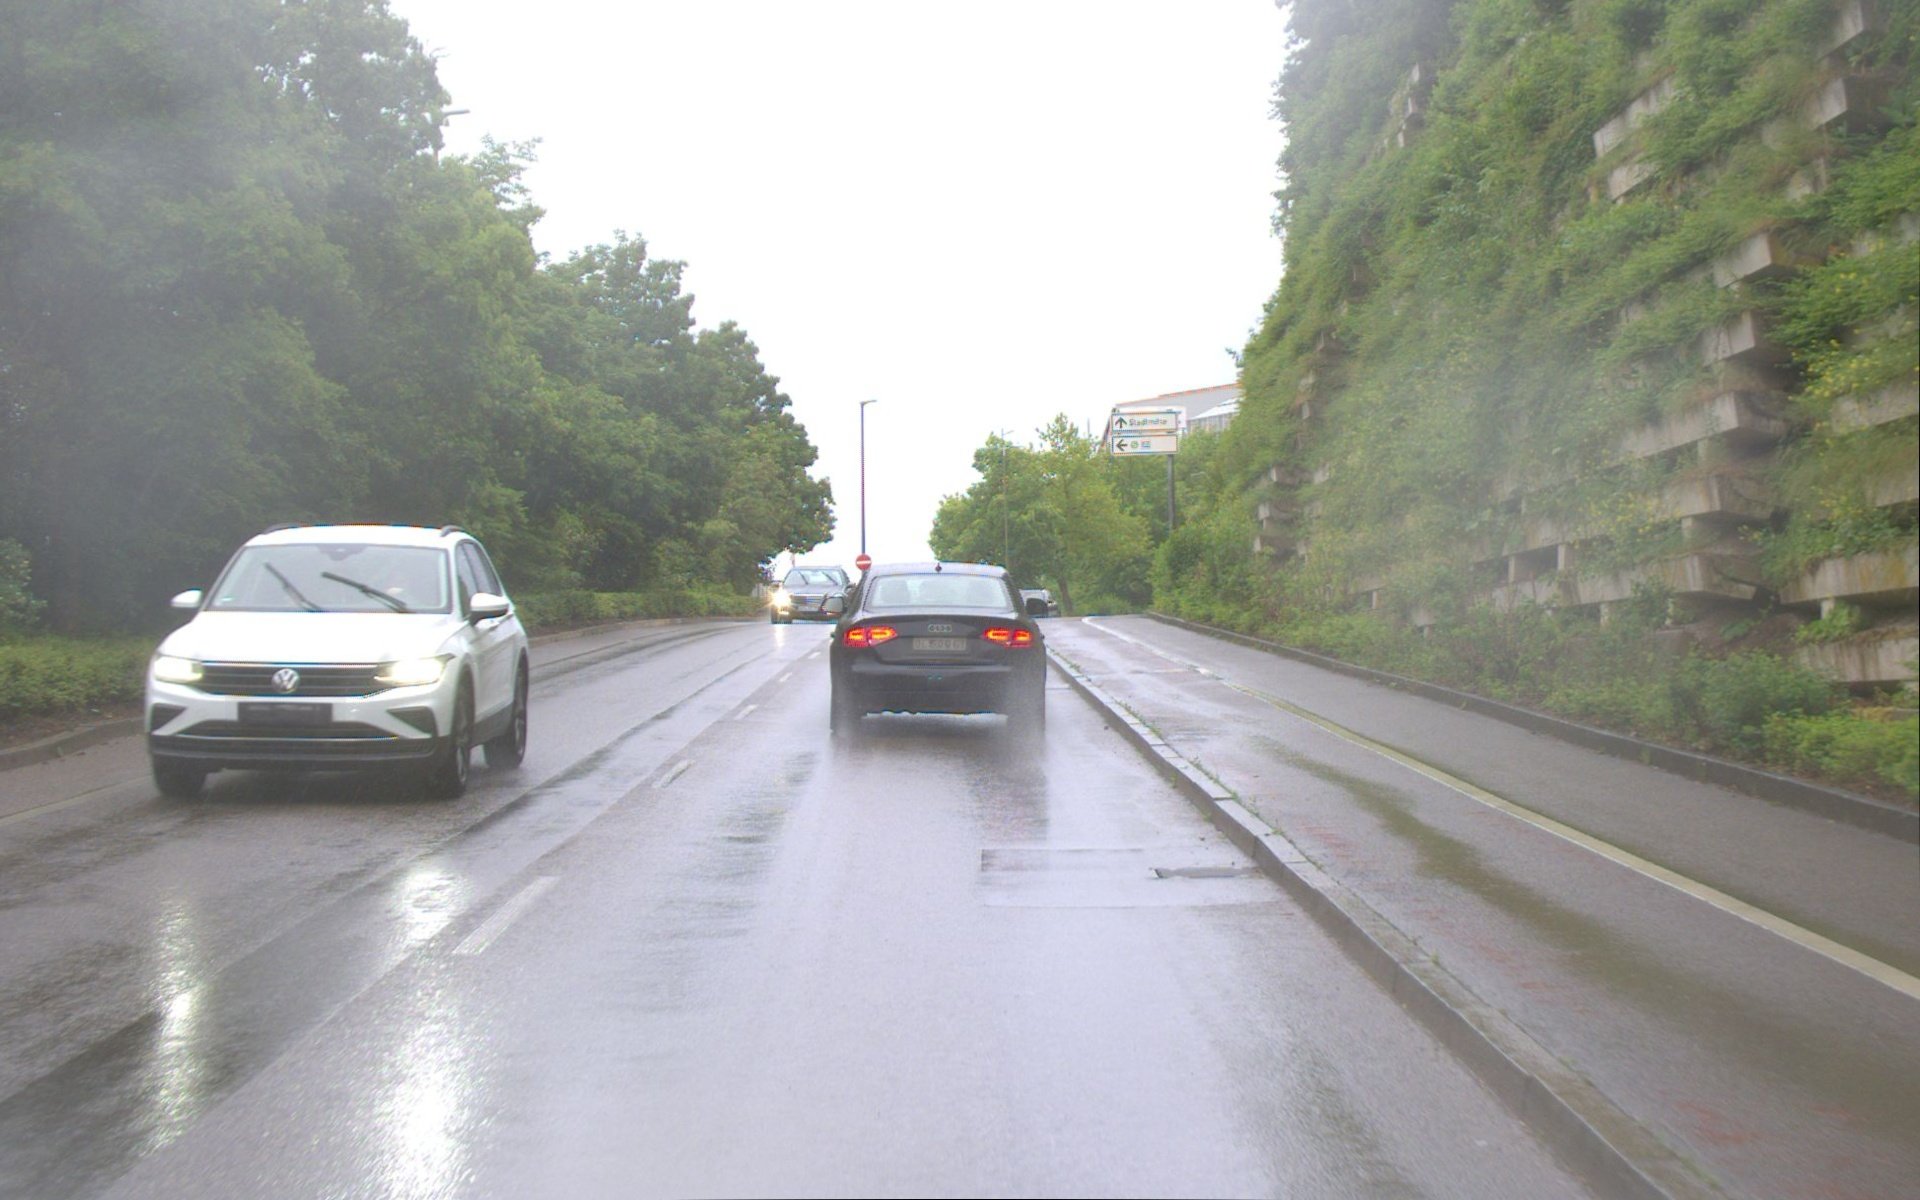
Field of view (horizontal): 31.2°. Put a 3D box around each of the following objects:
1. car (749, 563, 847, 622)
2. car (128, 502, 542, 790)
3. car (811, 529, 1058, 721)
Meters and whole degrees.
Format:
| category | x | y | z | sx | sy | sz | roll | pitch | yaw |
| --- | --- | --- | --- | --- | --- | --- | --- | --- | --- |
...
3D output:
| category | x | y | z | sx | sy | sz | roll | pitch | yaw |
| --- | --- | --- | --- | --- | --- | --- | --- | --- | --- |
| car | -3.879 | -0.204 | 82.949 | 1.993 | 1.359 | 4.251 | 1 | 1 | 2 |
| car | -3.778 | 0.226 | 21.466 | 1.823 | 1.609 | 4.093 | 1 | 1 | 0 |
| car | -0.145 | 0.158 | 29.171 | 1.893 | 1.487 | 4.207 | -1 | 1 | 2 |
